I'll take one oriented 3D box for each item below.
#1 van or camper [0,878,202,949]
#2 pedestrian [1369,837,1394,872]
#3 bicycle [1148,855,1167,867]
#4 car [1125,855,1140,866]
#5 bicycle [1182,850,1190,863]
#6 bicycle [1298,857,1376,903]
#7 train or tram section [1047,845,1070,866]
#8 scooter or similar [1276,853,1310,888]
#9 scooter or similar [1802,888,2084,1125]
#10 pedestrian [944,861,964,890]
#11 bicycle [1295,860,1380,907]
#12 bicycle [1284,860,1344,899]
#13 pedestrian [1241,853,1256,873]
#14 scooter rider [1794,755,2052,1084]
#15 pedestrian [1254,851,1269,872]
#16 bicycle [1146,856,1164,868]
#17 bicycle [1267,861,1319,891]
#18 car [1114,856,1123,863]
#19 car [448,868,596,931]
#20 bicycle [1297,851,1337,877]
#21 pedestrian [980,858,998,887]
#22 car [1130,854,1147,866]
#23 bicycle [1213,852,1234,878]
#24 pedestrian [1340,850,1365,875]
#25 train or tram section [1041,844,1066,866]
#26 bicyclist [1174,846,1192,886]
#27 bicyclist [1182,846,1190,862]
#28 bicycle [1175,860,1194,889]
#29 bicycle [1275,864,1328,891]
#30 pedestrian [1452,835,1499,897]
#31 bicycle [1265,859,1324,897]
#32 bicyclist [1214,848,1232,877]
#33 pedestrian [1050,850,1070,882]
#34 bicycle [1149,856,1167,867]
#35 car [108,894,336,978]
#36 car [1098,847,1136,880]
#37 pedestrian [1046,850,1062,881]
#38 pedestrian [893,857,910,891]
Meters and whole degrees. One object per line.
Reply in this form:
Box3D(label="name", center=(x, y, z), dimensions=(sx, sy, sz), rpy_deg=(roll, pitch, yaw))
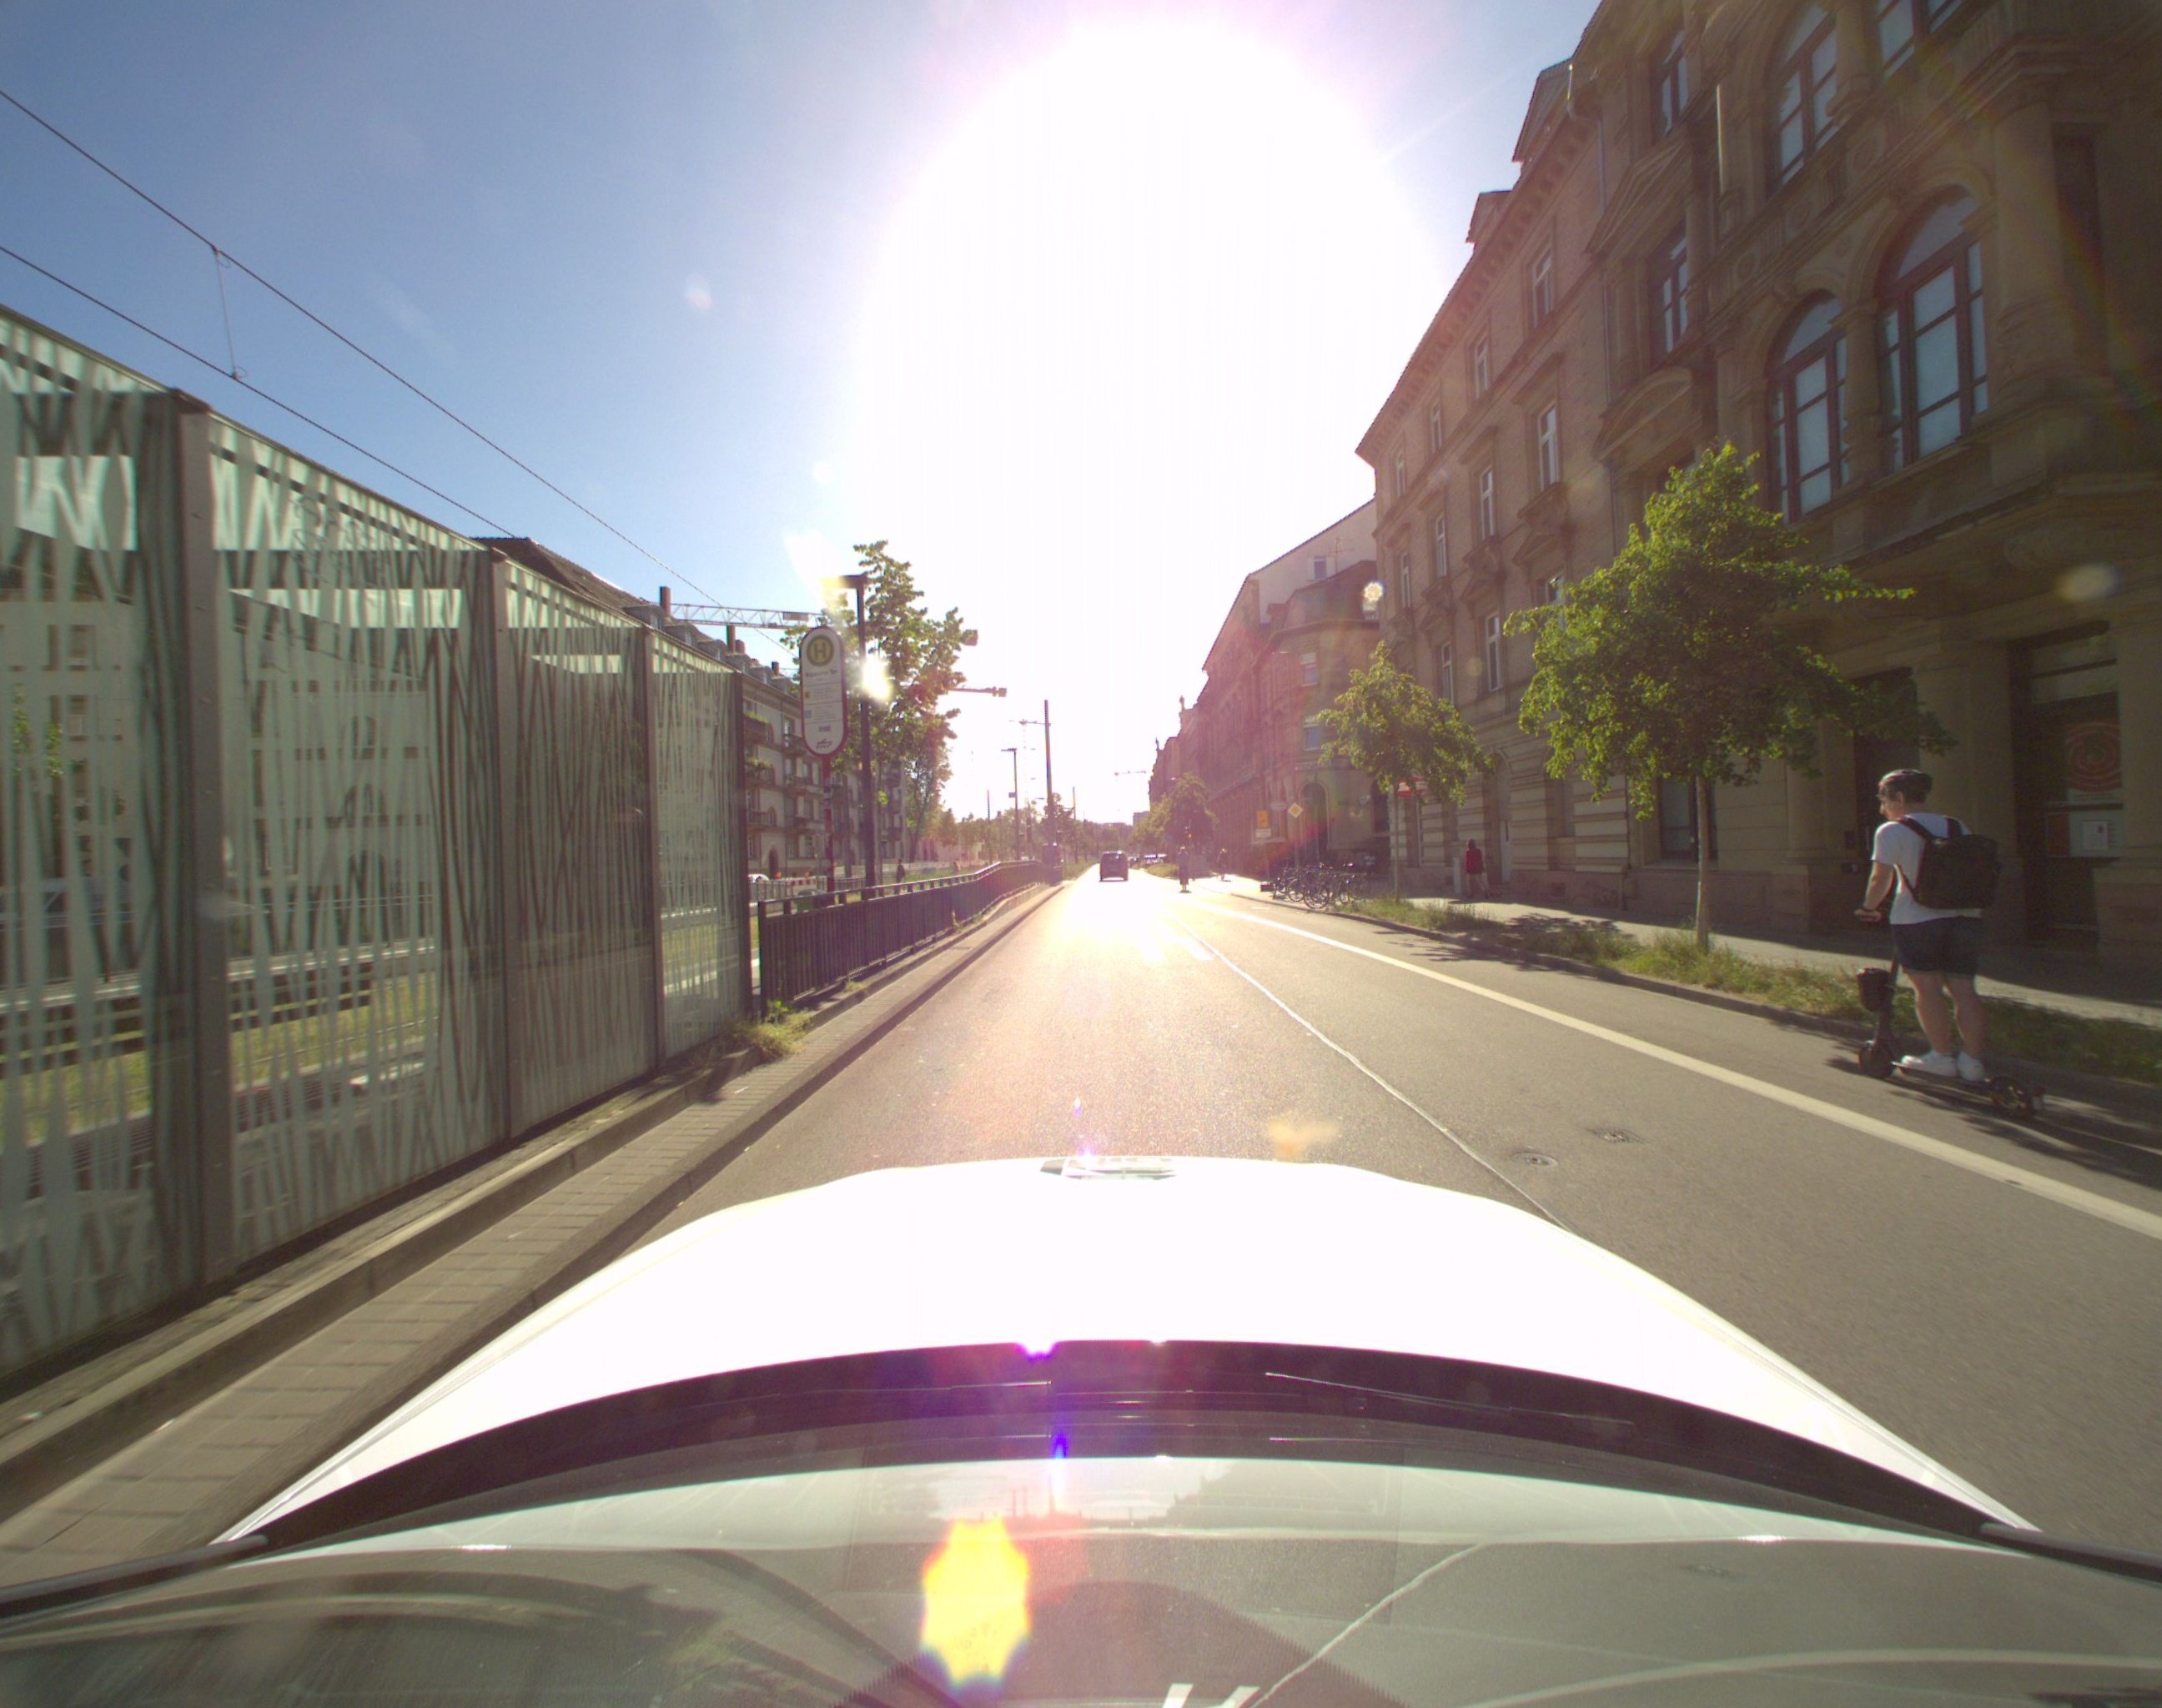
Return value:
Box3D(label="van or camper", center=(-39.762, 2.304, 33.233), dimensions=(1.994, 2.401, 5.936), rpy_deg=(-3, 0, -10))
Box3D(label="pedestrian", center=(15.553, 0.008, 42.139), dimensions=(0.905, 1.760, 0.866), rpy_deg=(-1, 0, -6))
Box3D(label="bicycle", center=(7.746, 0.710, 82.800), dimensions=(1.786, 1.030, 0.527), rpy_deg=(-7, 0, 1))
Box3D(label="car", center=(7.801, 1.003, 122.896), dimensions=(2.021, 1.499, 4.531), rpy_deg=(-3, 0, 1))
Box3D(label="bicycle", center=(10.666, 0.252, 83.021), dimensions=(0.581, 1.222, 1.900), rpy_deg=(-2, 0, 2))
Box3D(label="bicycle", center=(7.458, 0.746, 23.751), dimensions=(1.987, 1.128, 0.710), rpy_deg=(-5, 0, 2))
Box3D(label="train or tram section", center=(-3.158, 0.283, 117.709), dimensions=(2.746, 2.743, 9.866), rpy_deg=(-1, -1, 2))
Box3D(label="scooter or similar", center=(7.847, 0.609, 30.169), dimensions=(1.105, 1.189, 0.420), rpy_deg=(-3, 0, 8))
Box3D(label="scooter or similar", center=(5.177, 0.847, 4.986), dimensions=(0.489, 1.227, 1.170), rpy_deg=(0, 0, 1))
Box3D(label="pedestrian", center=(-6.937, 1.150, 44.585), dimensions=(0.862, 1.536, 0.909), rpy_deg=(-1, 0, 1))
Box3D(label="bicycle", center=(7.030, 0.806, 22.384), dimensions=(1.994, 1.092, 0.845), rpy_deg=(-5, 0, -9))
Box3D(label="bicycle", center=(7.157, 0.782, 25.067), dimensions=(1.592, 1.045, 0.607), rpy_deg=(-5, 0, 4))
Box3D(label="pedestrian", center=(10.283, 0.561, 50.072), dimensions=(0.703, 1.178, 0.635), rpy_deg=(-4, 0, 1))
Box3D(label="scooter rider", center=(5.164, 0.371, 5.065), dimensions=(0.664, 1.860, 0.901), rpy_deg=(0, 0, 1))
Box3D(label="pedestrian", center=(11.093, 0.464, 50.112), dimensions=(0.703, 1.236, 0.635), rpy_deg=(-4, 0, 1))
Box3D(label="bicycle", center=(7.876, 0.853, 87.115), dimensions=(1.786, 1.030, 0.527), rpy_deg=(-7, 0, 1))
Box3D(label="bicycle", center=(7.468, 0.758, 28.763), dimensions=(1.660, 0.944, 0.608), rpy_deg=(-3, 0, 8))
Box3D(label="car", center=(9.500, 1.399, 205.901), dimensions=(1.986, 1.838, 4.001), rpy_deg=(-1, -1, 1))
Box3D(label="car", center=(-17.509, 1.361, 25.796), dimensions=(1.814, 1.794, 4.089), rpy_deg=(-1, -1, 1))
Box3D(label="bicycle", center=(11.856, 0.498, 40.924), dimensions=(1.809, 1.171, 0.655), rpy_deg=(-3, 3, 5))
Box3D(label="pedestrian", center=(-4.971, 1.008, 43.915), dimensions=(0.809, 1.536, 0.798), rpy_deg=(-1, 0, 3))
Box3D(label="car", center=(7.746, 0.811, 110.550), dimensions=(2.021, 1.499, 4.655), rpy_deg=(-3, 0, 1))
Box3D(label="bicycle", center=(7.773, 0.598, 44.506), dimensions=(0.614, 1.330, 1.899), rpy_deg=(-6, 0, -1))
Box3D(label="pedestrian", center=(13.952, 0.434, 41.873), dimensions=(0.848, 1.214, 0.932), rpy_deg=(-1, 0, -6))
Box3D(label="train or tram section", center=(-3.570, 0.153, 107.865), dimensions=(2.746, 2.743, 9.866), rpy_deg=(-1, -1, 2))
Box3D(label="bicyclist", center=(4.364, 0.521, 34.890), dimensions=(0.682, 1.673, 0.922), rpy_deg=(0, 0, 1))
Box3D(label="bicyclist", center=(10.656, 0.005, 82.898), dimensions=(0.664, 1.639, 0.961), rpy_deg=(-2, 0, 1))
Box3D(label="bicycle", center=(4.380, 0.869, 34.676), dimensions=(0.599, 1.181, 1.869), rpy_deg=(0, 0, 1))
Box3D(label="bicycle", center=(7.591, 0.814, 28.096), dimensions=(1.661, 0.821, 0.608), rpy_deg=(-4, 0, 7))
Box3D(label="pedestrian", center=(10.282, 0.303, 21.258), dimensions=(0.706, 1.542, 0.927), rpy_deg=(-3, 0, 1))
Box3D(label="bicycle", center=(6.975, 0.778, 26.626), dimensions=(1.715, 1.100, 0.607), rpy_deg=(-5, 0, 4))
Box3D(label="bicyclist", center=(7.756, 0.475, 44.549), dimensions=(0.658, 1.530, 0.800), rpy_deg=(-6, 0, -2))
Box3D(label="pedestrian", center=(-1.296, 0.716, 49.856), dimensions=(1.073, 1.908, 0.652), rpy_deg=(-3, 0, -5))
Box3D(label="bicycle", center=(8.116, 0.787, 85.766), dimensions=(1.786, 1.030, 0.527), rpy_deg=(-2, 0, 1))
Box3D(label="car", center=(-22.887, 2.110, 21.958), dimensions=(1.809, 1.759, 4.000), rpy_deg=(-3, 0, 0))
Box3D(label="car", center=(2.236, 0.570, 51.788), dimensions=(2.192, 1.926, 4.655), rpy_deg=(-3, 0, 1))
Box3D(label="pedestrian", center=(-1.573, 0.652, 47.648), dimensions=(0.863, 1.788, 0.969), rpy_deg=(-1, 0, -5))
Box3D(label="pedestrian", center=(-9.680, 1.051, 43.946), dimensions=(0.865, 1.781, 0.906), rpy_deg=(-1, 0, -11))
